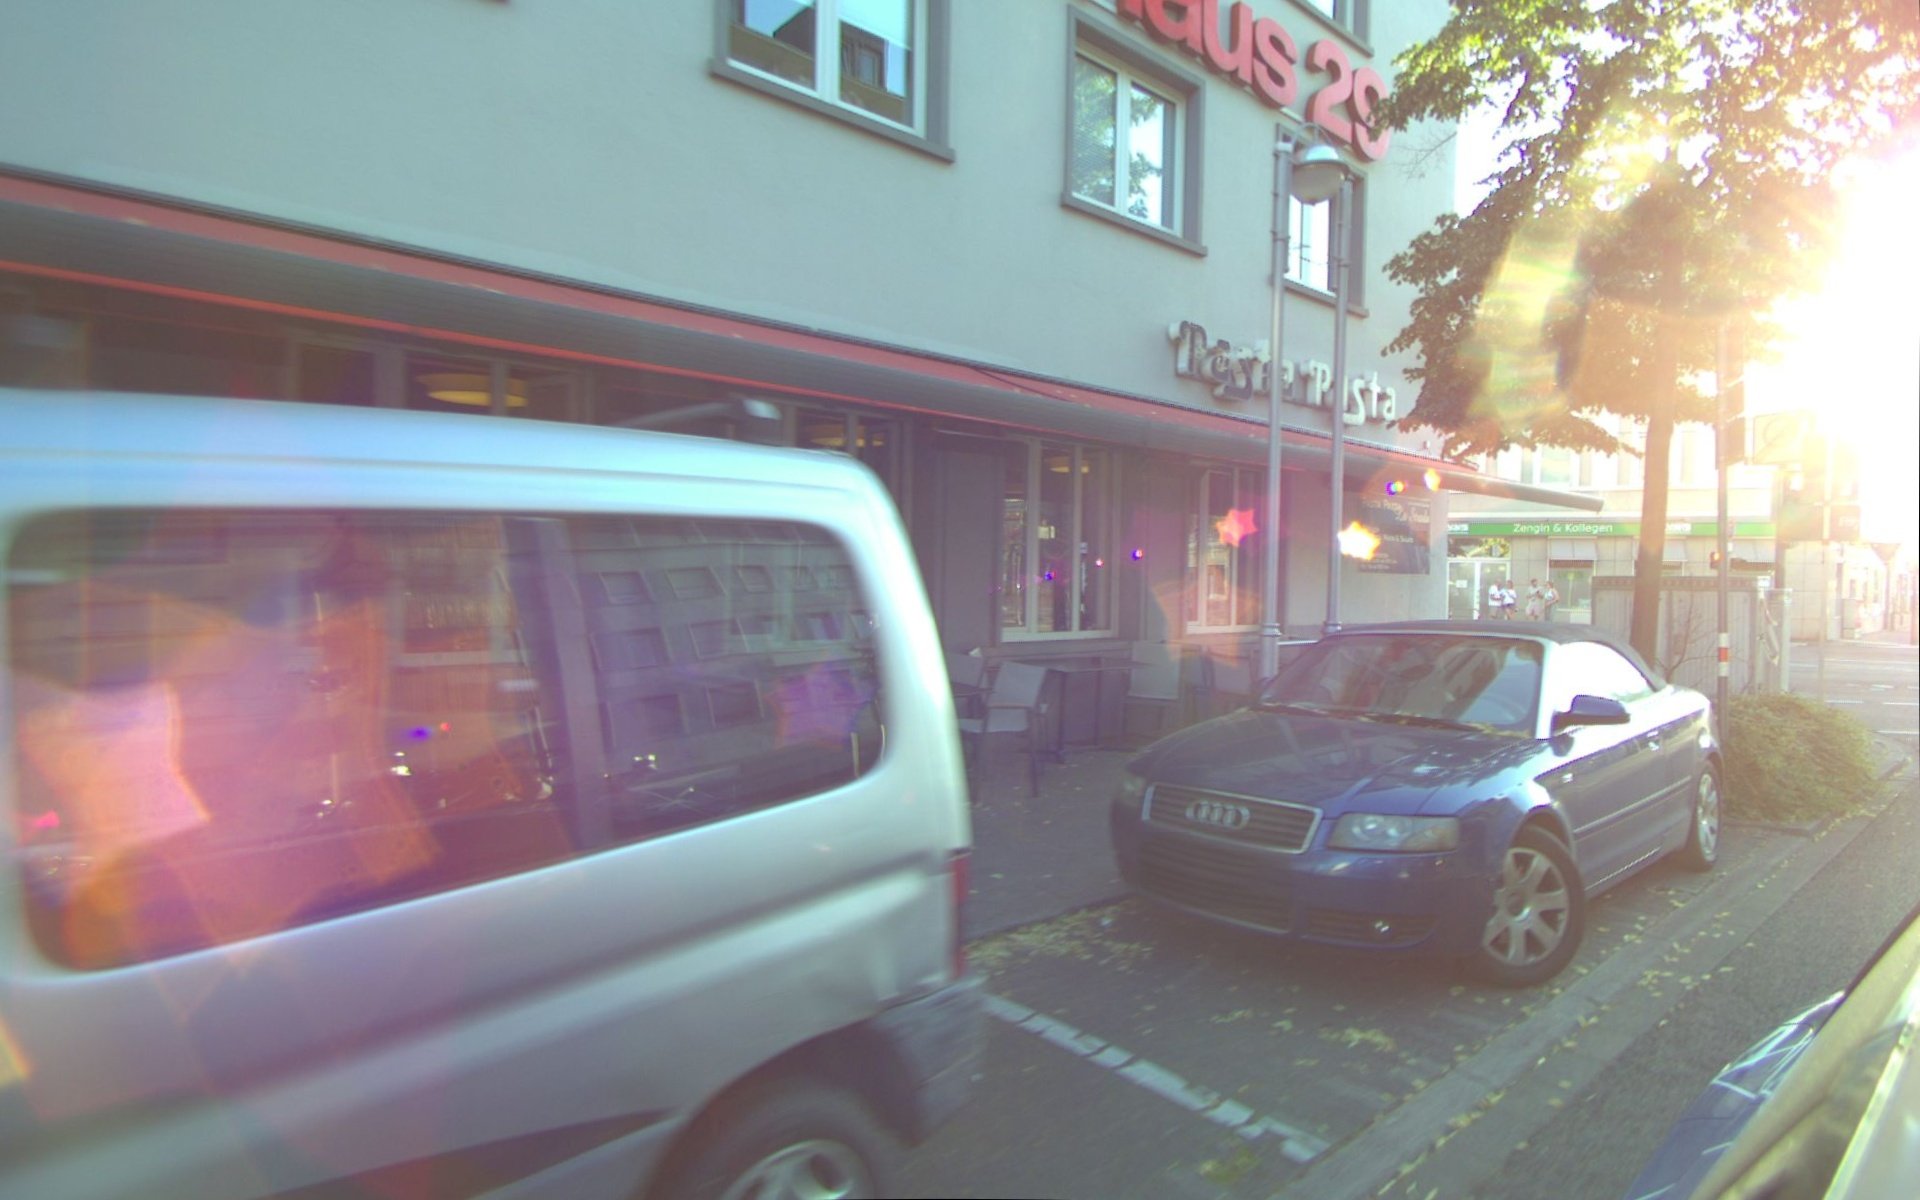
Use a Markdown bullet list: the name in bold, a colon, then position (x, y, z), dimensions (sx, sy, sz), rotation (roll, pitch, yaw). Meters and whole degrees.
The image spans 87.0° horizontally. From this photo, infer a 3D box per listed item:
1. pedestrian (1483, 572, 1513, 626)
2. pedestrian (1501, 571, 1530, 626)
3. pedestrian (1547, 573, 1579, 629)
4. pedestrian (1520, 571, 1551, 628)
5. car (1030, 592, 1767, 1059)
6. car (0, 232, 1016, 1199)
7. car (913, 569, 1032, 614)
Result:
- **pedestrian**: position (17.891, -0.044, 33.666), dimensions (0.675, 1.794, 0.763), rotation (0, 1, 9)
- **pedestrian**: position (18.523, -0.051, 33.769), dimensions (0.672, 1.794, 0.628), rotation (0, 0, 9)
- **pedestrian**: position (19.439, 0.022, 32.622), dimensions (0.775, 1.794, 0.894), rotation (0, 1, 38)
- **pedestrian**: position (18.919, -0.021, 33.285), dimensions (0.775, 1.835, 0.894), rotation (0, 1, 38)
- **car**: position (2.477, 0.675, 5.161), dimensions (4.111, 1.394, 1.939), rotation (-1, 0, -42)
- **car**: position (-1.870, 0.514, 1.344), dimensions (3.945, 1.801, 1.656), rotation (0, 0, -44)
- **car**: position (0.487, -0.361, 41.274), dimensions (4.464, 1.724, 1.982), rotation (1, 1, 26)
